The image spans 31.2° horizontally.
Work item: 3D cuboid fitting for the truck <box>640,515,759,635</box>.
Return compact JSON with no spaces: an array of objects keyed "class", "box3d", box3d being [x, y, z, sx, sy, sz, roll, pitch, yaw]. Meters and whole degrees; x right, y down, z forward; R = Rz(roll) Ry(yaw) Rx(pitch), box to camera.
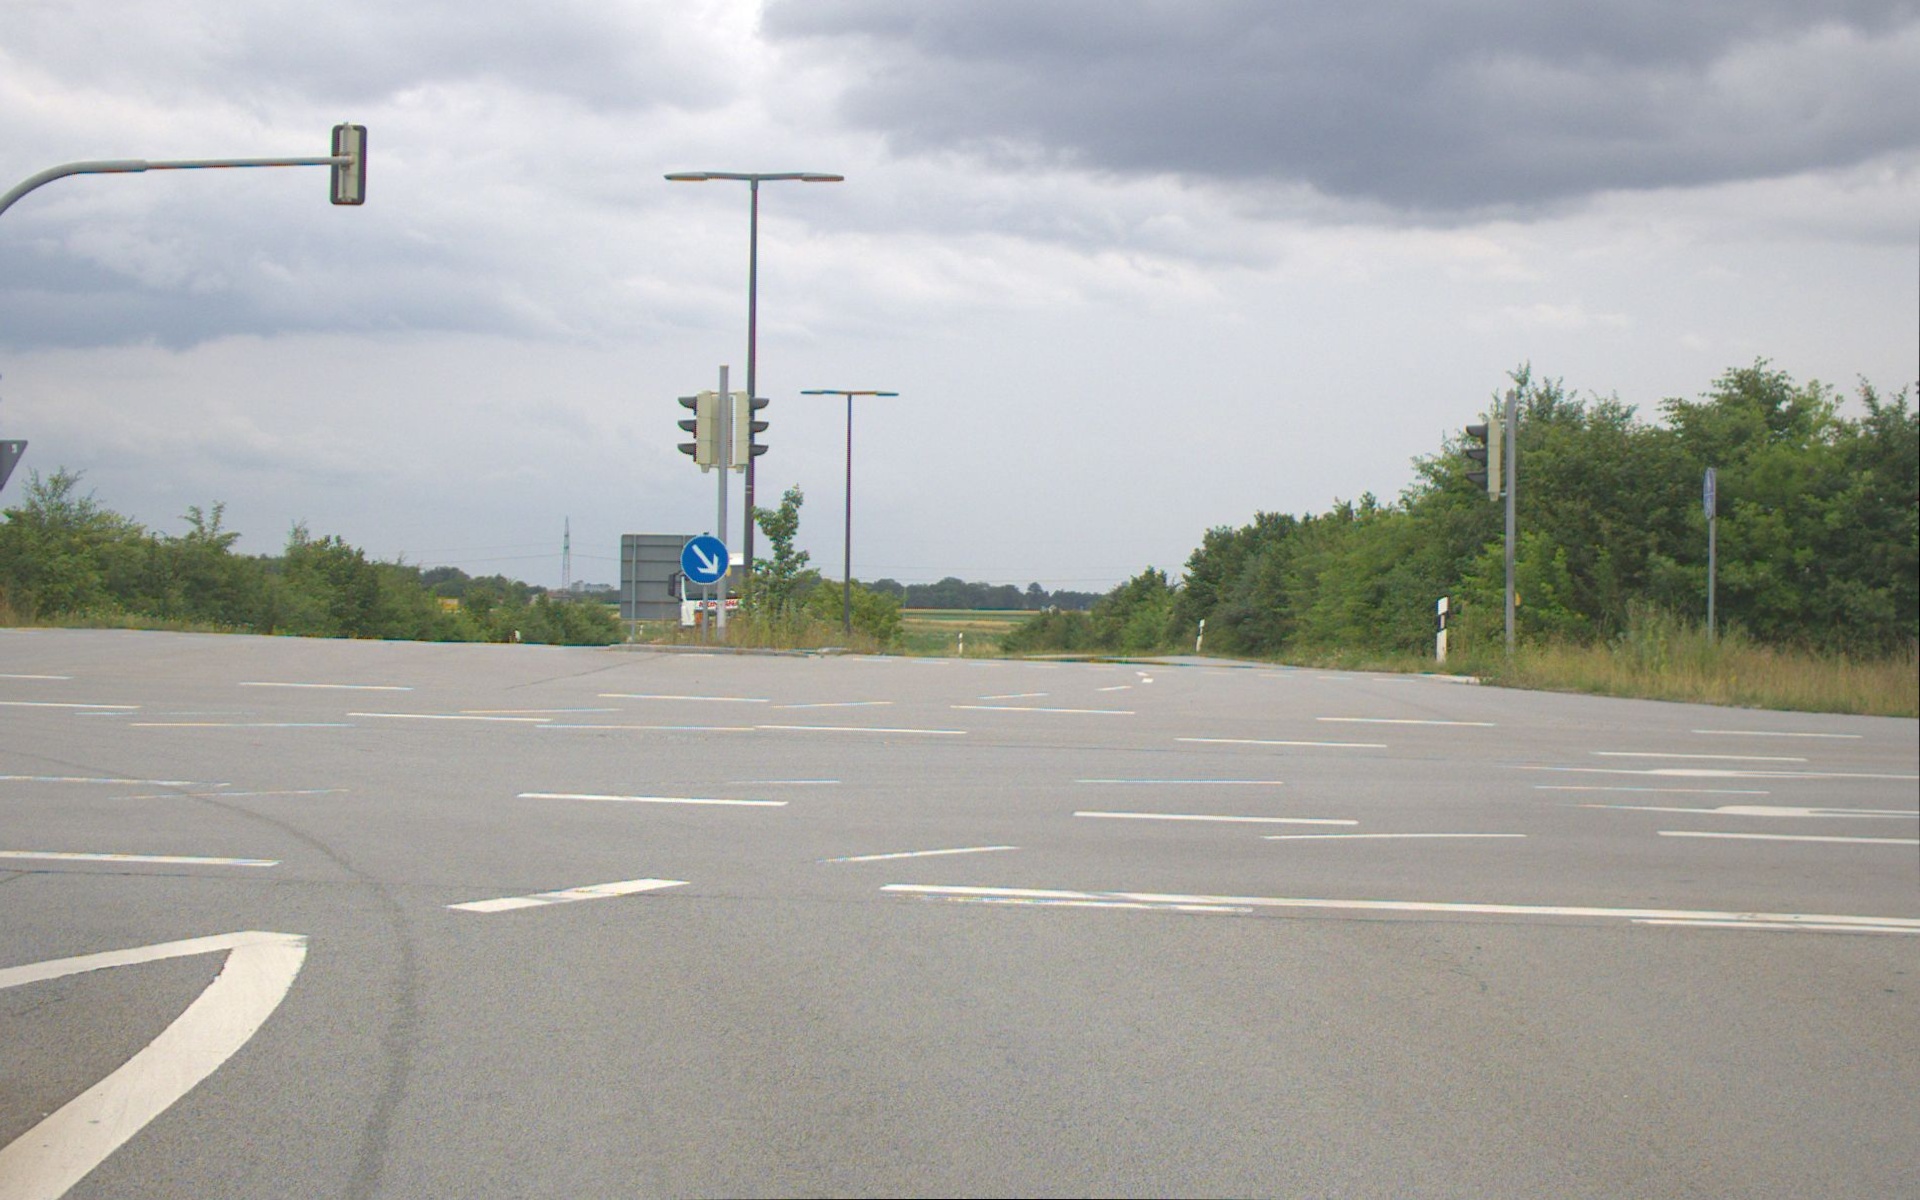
[{"class":"truck","box3d":[-7.722,-0.686,102.895,2.869,3.396,8.650,1,-1,0]}]
